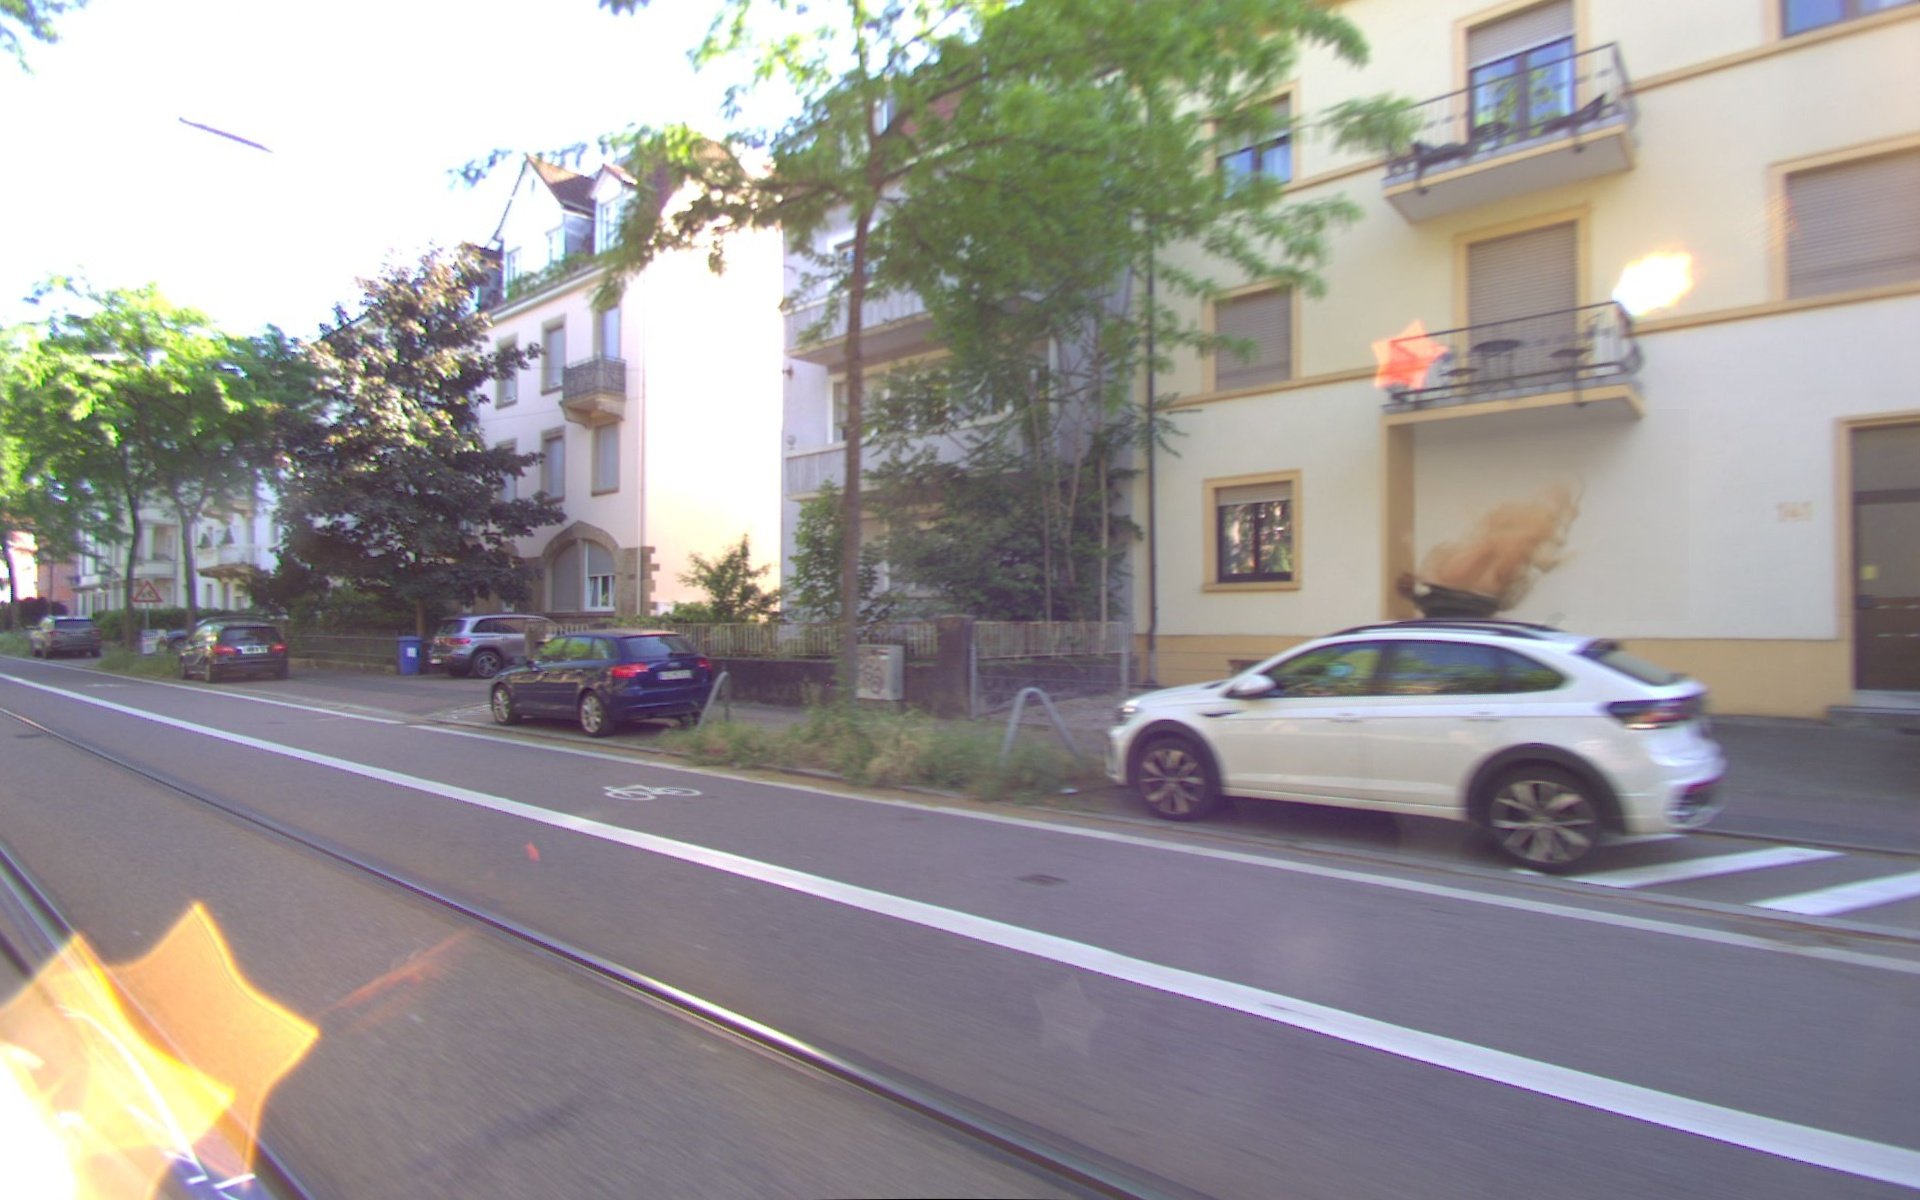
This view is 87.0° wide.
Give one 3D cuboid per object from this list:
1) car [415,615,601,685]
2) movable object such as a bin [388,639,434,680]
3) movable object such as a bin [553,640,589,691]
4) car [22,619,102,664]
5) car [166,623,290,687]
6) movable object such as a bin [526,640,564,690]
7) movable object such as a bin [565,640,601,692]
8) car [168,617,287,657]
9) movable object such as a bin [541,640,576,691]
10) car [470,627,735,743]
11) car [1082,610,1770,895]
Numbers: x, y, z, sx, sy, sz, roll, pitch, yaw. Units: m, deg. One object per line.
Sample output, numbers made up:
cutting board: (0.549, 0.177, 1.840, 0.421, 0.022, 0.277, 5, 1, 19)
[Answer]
car: (-12.063, 1.265, 27.185, 1.981, 1.671, 4.125, -1, -1, 39)
movable object such as a bin: (-15.016, 1.616, 27.673, 0.813, 1.074, 0.866, -1, -2, 41)
movable object such as a bin: (-8.344, 1.396, 21.692, 0.510, 1.074, 0.541, -1, -2, 41)
car: (-39.098, 1.755, 44.027, 4.766, 1.837, 1.852, -1, -1, 39)
car: (-19.950, 1.430, 27.522, 4.483, 1.553, 1.758, -1, -1, 41)
movable object such as a bin: (-9.188, 1.421, 22.415, 0.670, 1.074, 0.535, -1, -2, 41)
movable object such as a bin: (-7.954, 1.386, 21.348, 0.510, 1.074, 0.531, -1, -2, 41)
car: (-34.586, 1.710, 47.868, 1.952, 1.673, 4.255, -1, 0, 42)
movable object such as a bin: (-8.735, 1.417, 22.028, 0.510, 1.074, 0.541, -1, -2, 41)
car: (-5.334, 1.130, 14.831, 4.330, 1.417, 1.688, -1, -1, 40)
car: (3.254, 0.873, 7.585, 4.367, 1.522, 1.799, -1, -1, 40)
